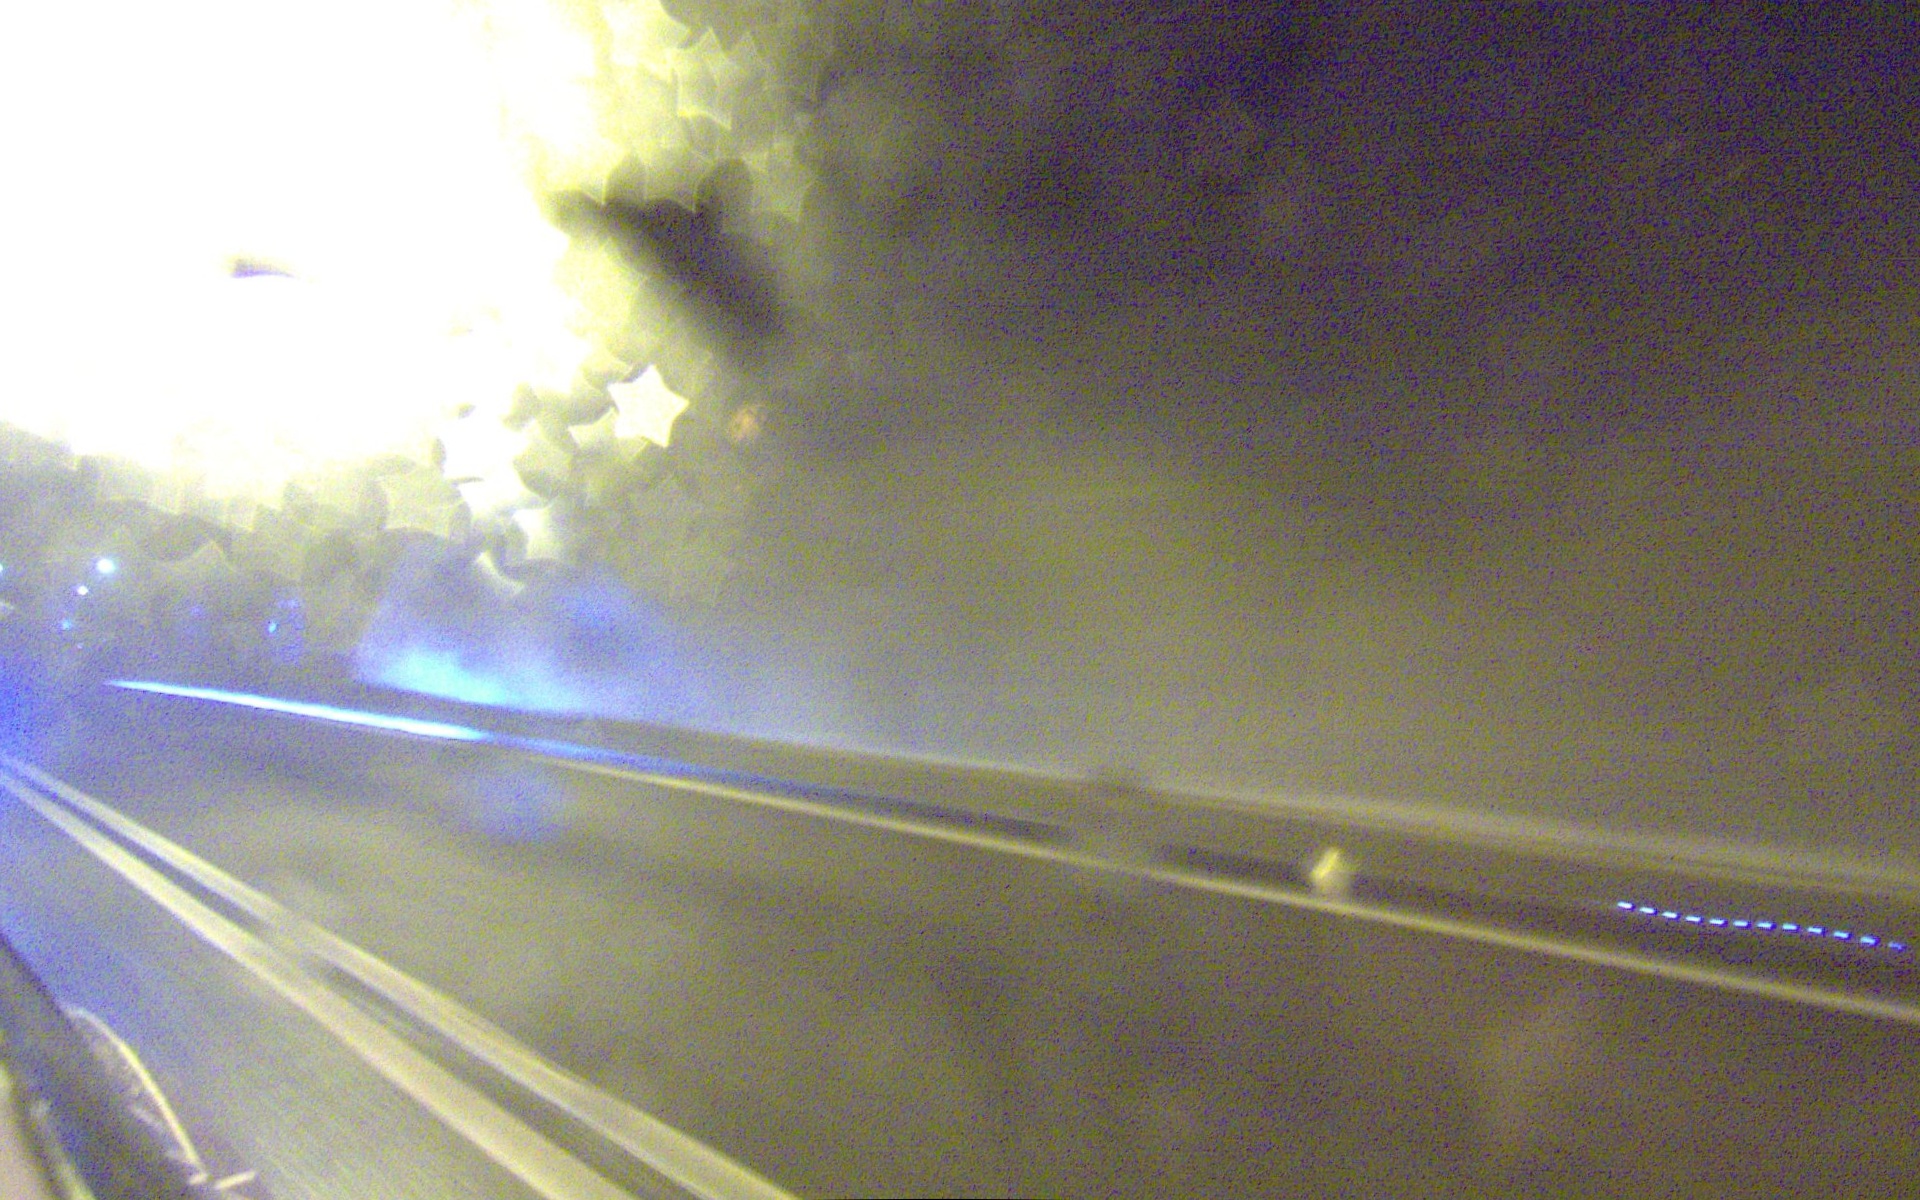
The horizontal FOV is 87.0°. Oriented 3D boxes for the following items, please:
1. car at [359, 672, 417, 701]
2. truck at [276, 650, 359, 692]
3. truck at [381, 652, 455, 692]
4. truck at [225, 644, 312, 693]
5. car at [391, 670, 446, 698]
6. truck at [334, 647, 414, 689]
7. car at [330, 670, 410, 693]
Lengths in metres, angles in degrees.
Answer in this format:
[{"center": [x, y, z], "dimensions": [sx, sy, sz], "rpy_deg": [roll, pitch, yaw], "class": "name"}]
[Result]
[{"center": [-41.007, 6.197, 72.539], "dimensions": [3.699, 1.921, 1.709], "rpy_deg": [-1, -1, 23], "class": "car"}, {"center": [-54.659, 6.036, 86.066], "dimensions": [7.014, 3.121, 2.421], "rpy_deg": [1, -6, 26], "class": "truck"}, {"center": [-50.413, 6.667, 94.092], "dimensions": [6.532, 3.285, 2.421], "rpy_deg": [1, -6, 26], "class": "truck"}, {"center": [-55.959, 5.528, 81.889], "dimensions": [7.017, 3.506, 2.451], "rpy_deg": [1, -6, 27], "class": "truck"}, {"center": [-40.166, 6.231, 75.089], "dimensions": [3.699, 1.921, 1.709], "rpy_deg": [-1, -1, 23], "class": "car"}, {"center": [-52.364, 6.042, 90.352], "dimensions": [7.014, 3.285, 2.421], "rpy_deg": [1, -6, 26], "class": "truck"}, {"center": [-38.068, 5.252, 65.384], "dimensions": [1.840, 1.210, 3.958], "rpy_deg": [0, -6, 31], "class": "car"}]
